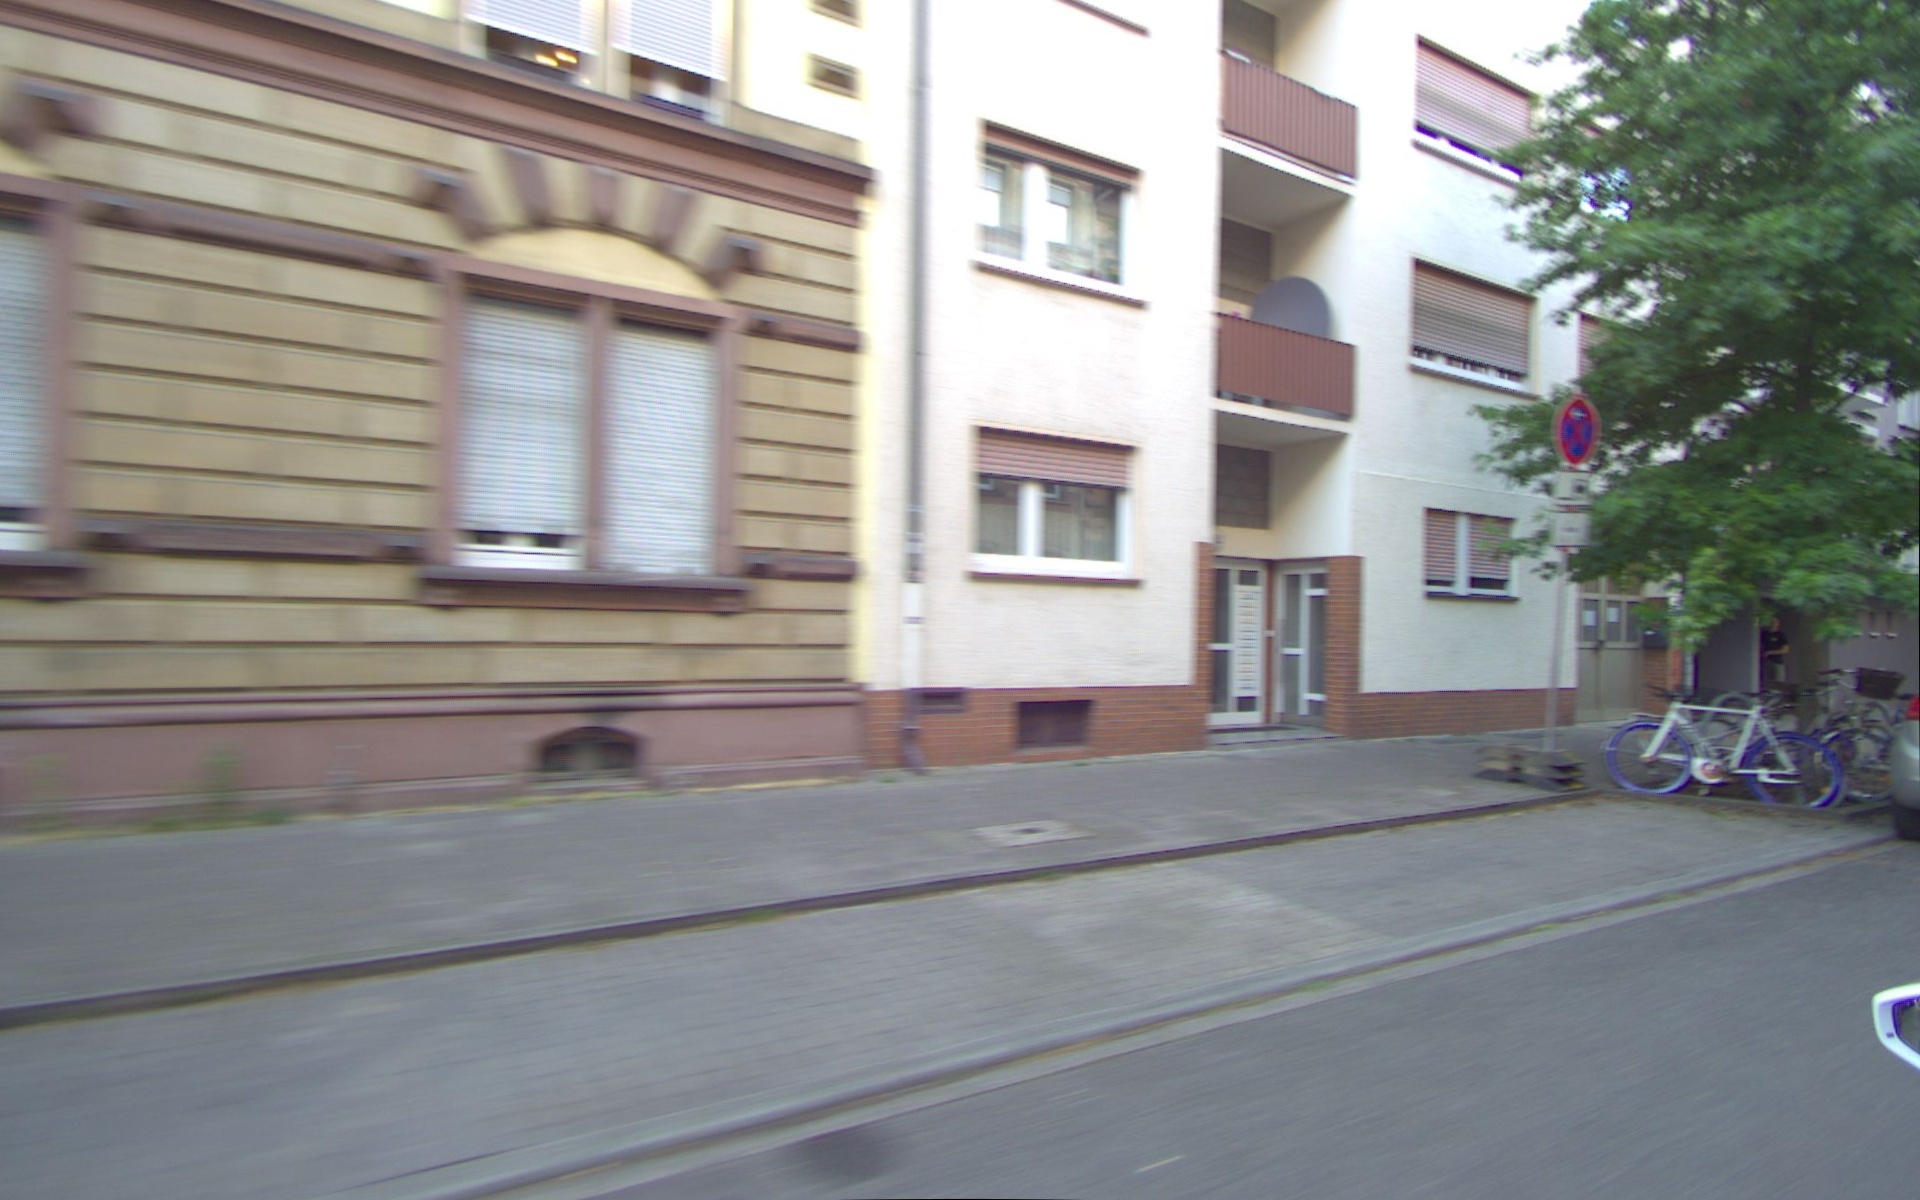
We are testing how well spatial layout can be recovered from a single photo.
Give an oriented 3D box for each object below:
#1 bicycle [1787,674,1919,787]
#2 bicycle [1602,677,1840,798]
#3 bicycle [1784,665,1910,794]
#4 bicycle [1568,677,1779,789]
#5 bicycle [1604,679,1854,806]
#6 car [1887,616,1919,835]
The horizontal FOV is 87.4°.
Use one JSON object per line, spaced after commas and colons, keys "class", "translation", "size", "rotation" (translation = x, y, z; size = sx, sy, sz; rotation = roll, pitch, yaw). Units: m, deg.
{"class": "bicycle", "translation": [9.688, 1.339, 10.597], "size": [0.565, 1.008, 1.732], "rotation": [1, -1, 3]}
{"class": "bicycle", "translation": [6.903, 1.223, 9.205], "size": [1.674, 0.910, 0.383], "rotation": [2, 0, 30]}
{"class": "bicycle", "translation": [8.458, 1.190, 9.555], "size": [1.646, 1.118, 0.417], "rotation": [2, 0, -32]}
{"class": "bicycle", "translation": [6.947, 1.271, 9.864], "size": [1.635, 0.910, 0.383], "rotation": [2, 0, 30]}
{"class": "bicycle", "translation": [6.671, 1.212, 8.809], "size": [1.674, 0.919, 0.383], "rotation": [2, 0, 30]}
{"class": "car", "translation": [8.957, 0.963, 7.866], "size": [3.959, 1.584, 1.653], "rotation": [2, -1, -34]}
